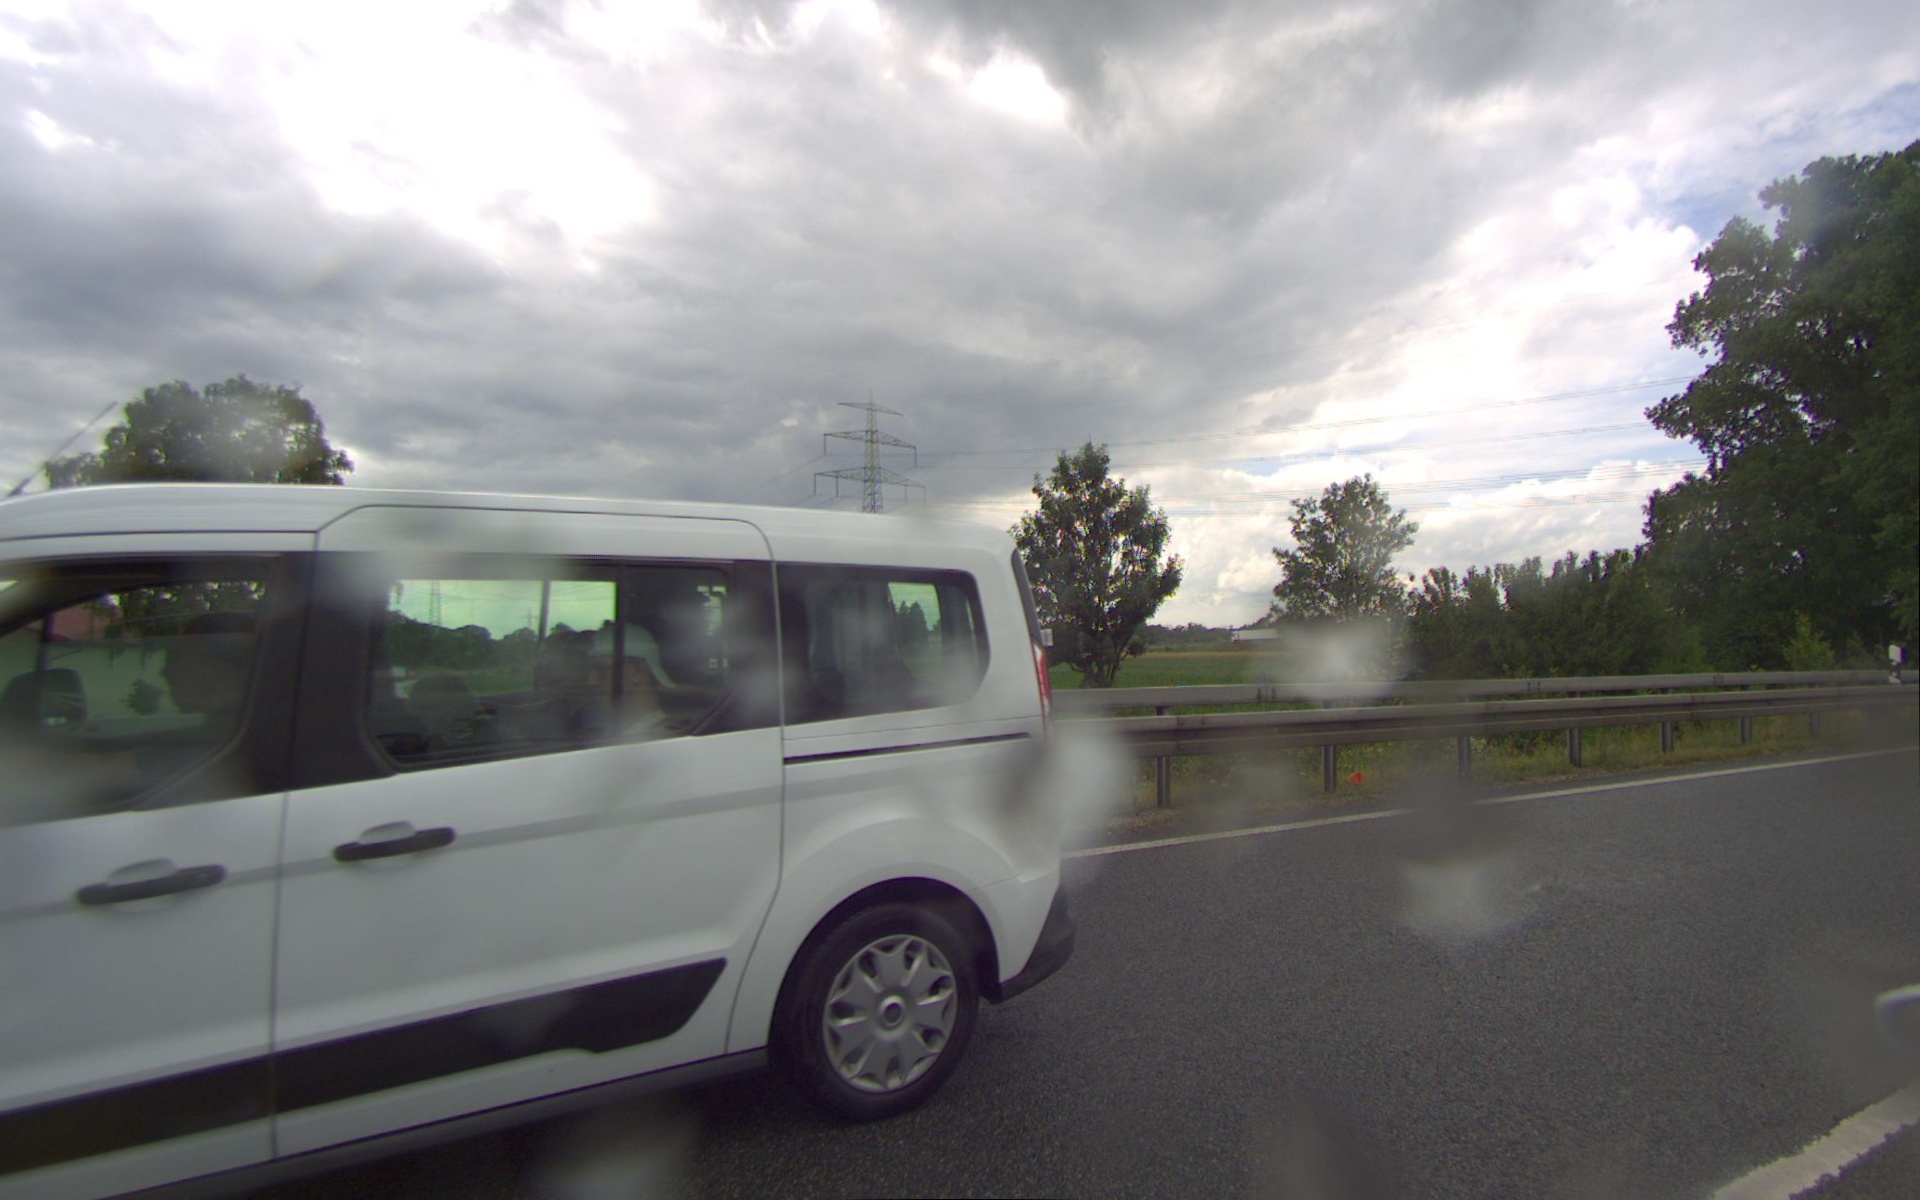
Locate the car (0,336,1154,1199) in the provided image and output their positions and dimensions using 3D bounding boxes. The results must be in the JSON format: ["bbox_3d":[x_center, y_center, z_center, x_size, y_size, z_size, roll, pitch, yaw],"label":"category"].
[{"bbox_3d":[-1.738,0.483,2.969,4.436,1.917,1.853,1,-1,-30],"label":"car"}]
